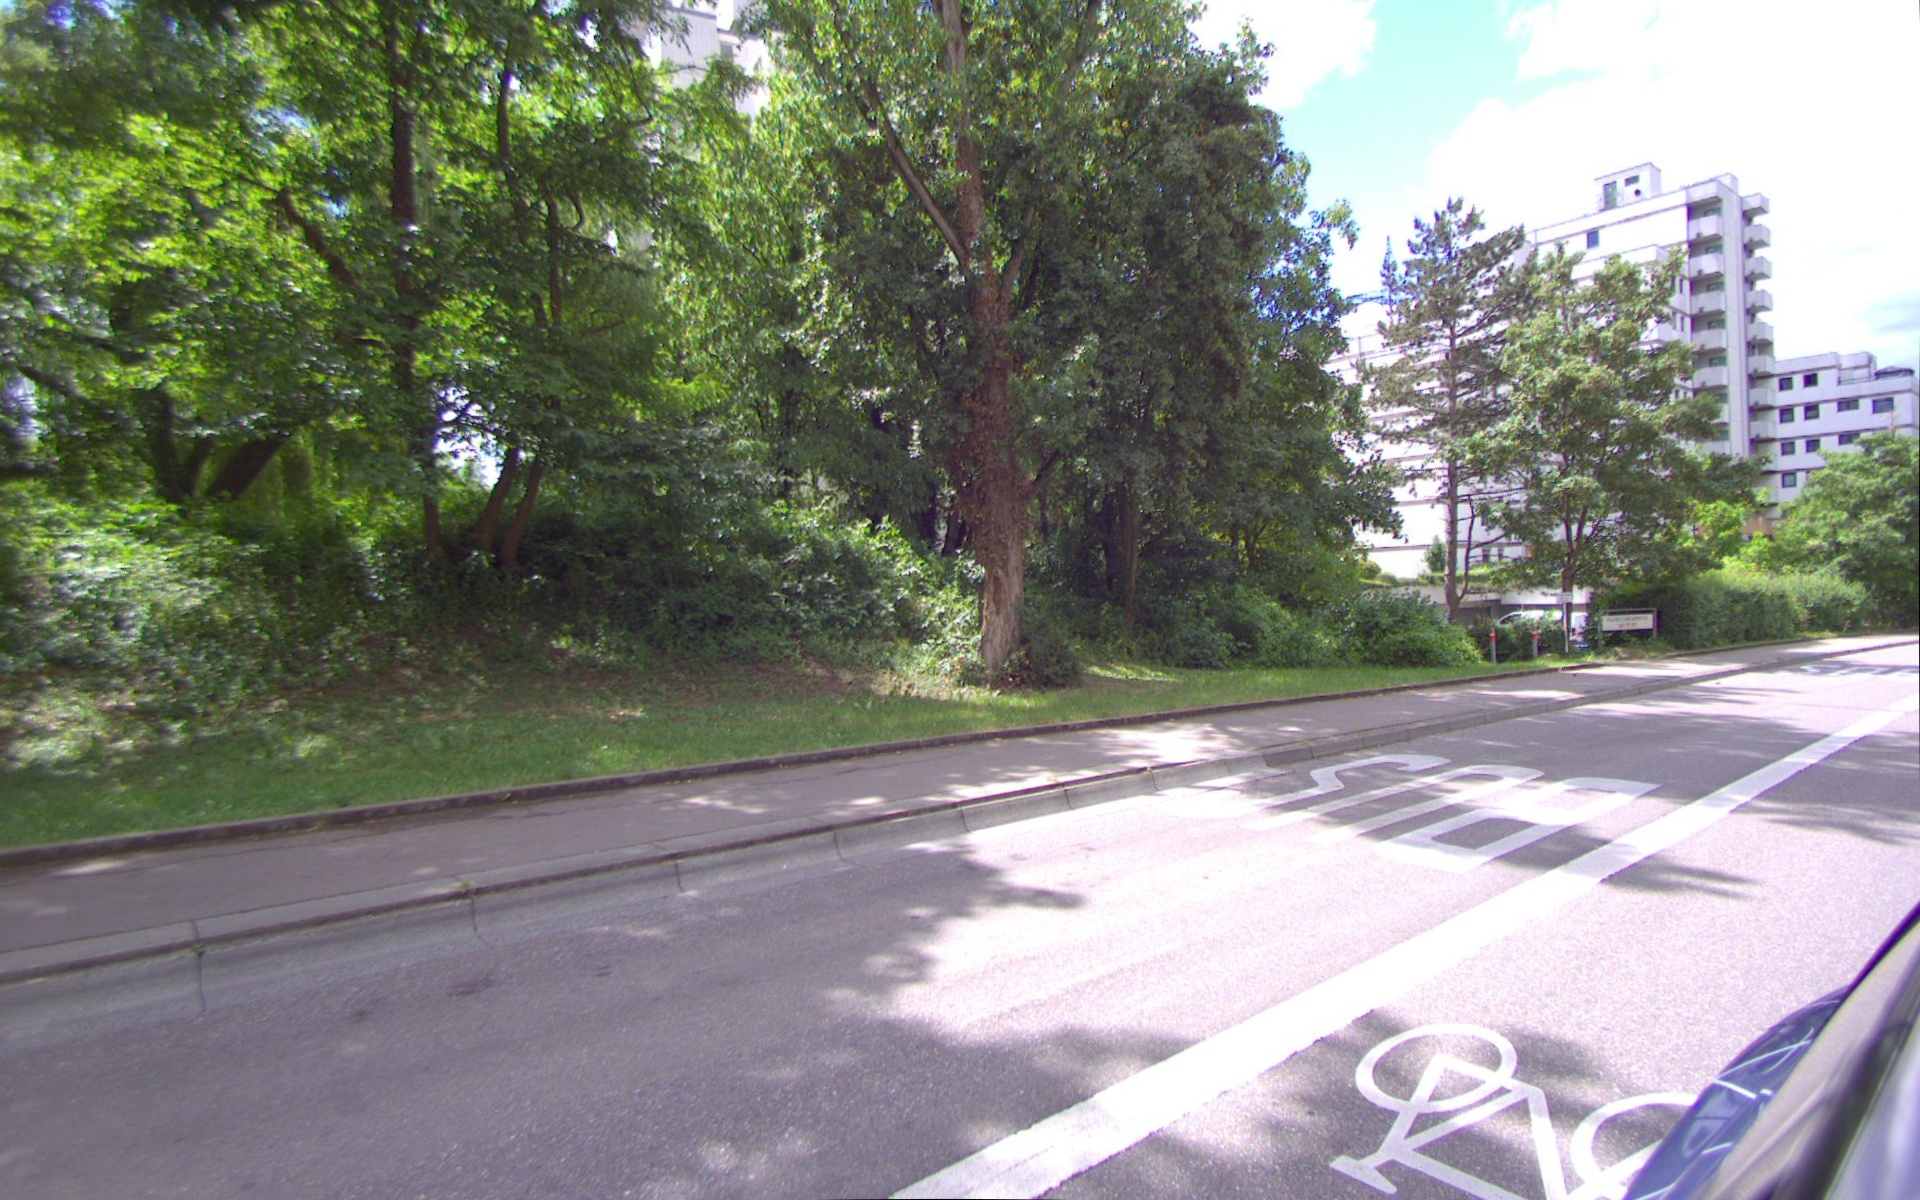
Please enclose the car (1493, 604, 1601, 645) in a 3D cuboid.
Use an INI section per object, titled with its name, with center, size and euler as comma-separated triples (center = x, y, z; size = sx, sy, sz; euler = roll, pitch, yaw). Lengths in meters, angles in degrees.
[car]
center = 31.036, 1.237, 53.641
size = 1.962, 2.039, 4.549
euler = -1, 0, -34
